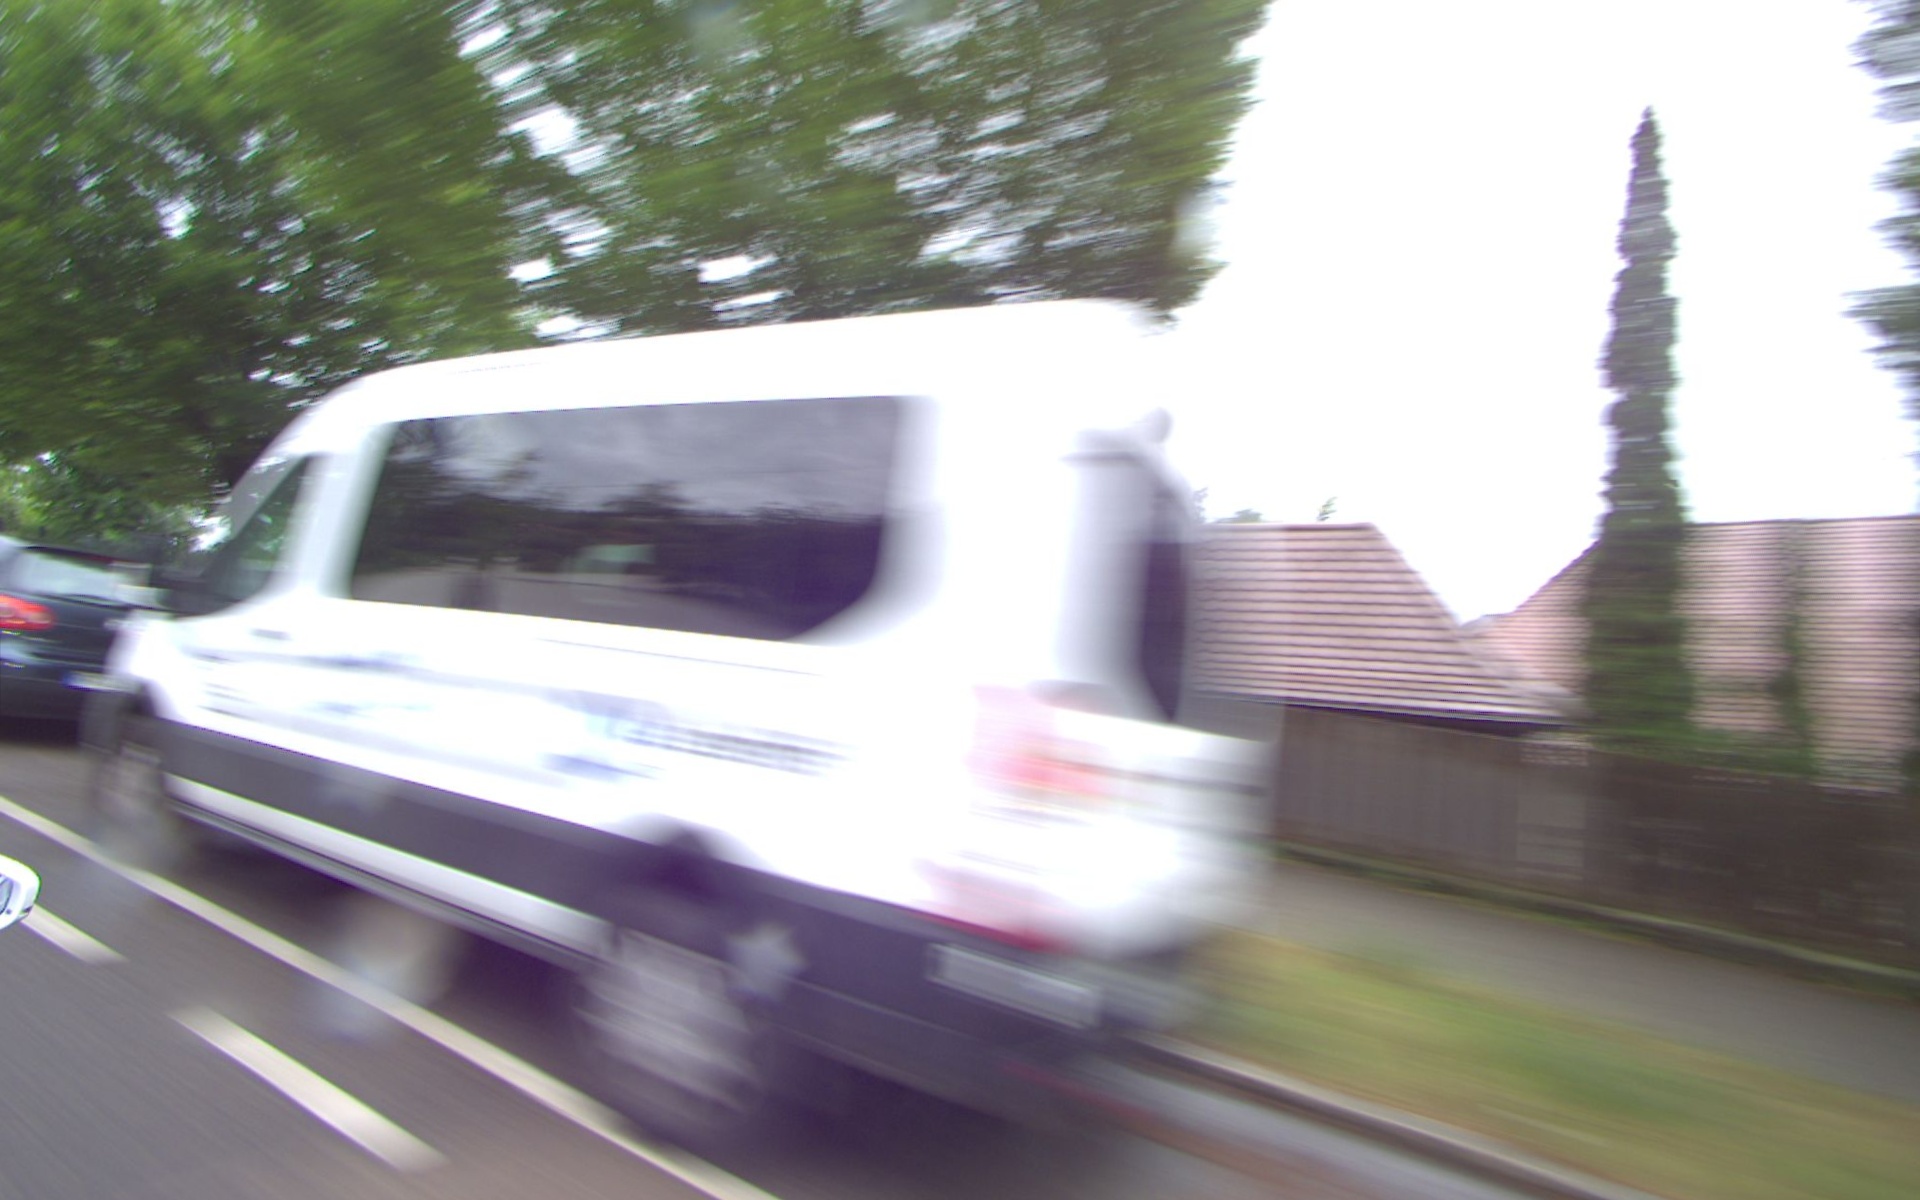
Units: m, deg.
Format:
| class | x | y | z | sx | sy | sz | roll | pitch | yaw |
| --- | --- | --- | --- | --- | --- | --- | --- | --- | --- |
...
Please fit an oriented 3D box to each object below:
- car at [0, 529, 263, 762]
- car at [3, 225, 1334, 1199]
| class | x | y | z | sx | sy | sz | roll | pitch | yaw |
| --- | --- | --- | --- | --- | --- | --- | --- | --- | --- |
| car | -7.849 | 0.207 | 8.280 | 4.152 | 1.472 | 1.679 | 6 | -6 | 30 |
| car | -1.702 | 0.302 | 4.672 | 5.933 | 2.517 | 2.182 | 6 | -5 | 31 |
